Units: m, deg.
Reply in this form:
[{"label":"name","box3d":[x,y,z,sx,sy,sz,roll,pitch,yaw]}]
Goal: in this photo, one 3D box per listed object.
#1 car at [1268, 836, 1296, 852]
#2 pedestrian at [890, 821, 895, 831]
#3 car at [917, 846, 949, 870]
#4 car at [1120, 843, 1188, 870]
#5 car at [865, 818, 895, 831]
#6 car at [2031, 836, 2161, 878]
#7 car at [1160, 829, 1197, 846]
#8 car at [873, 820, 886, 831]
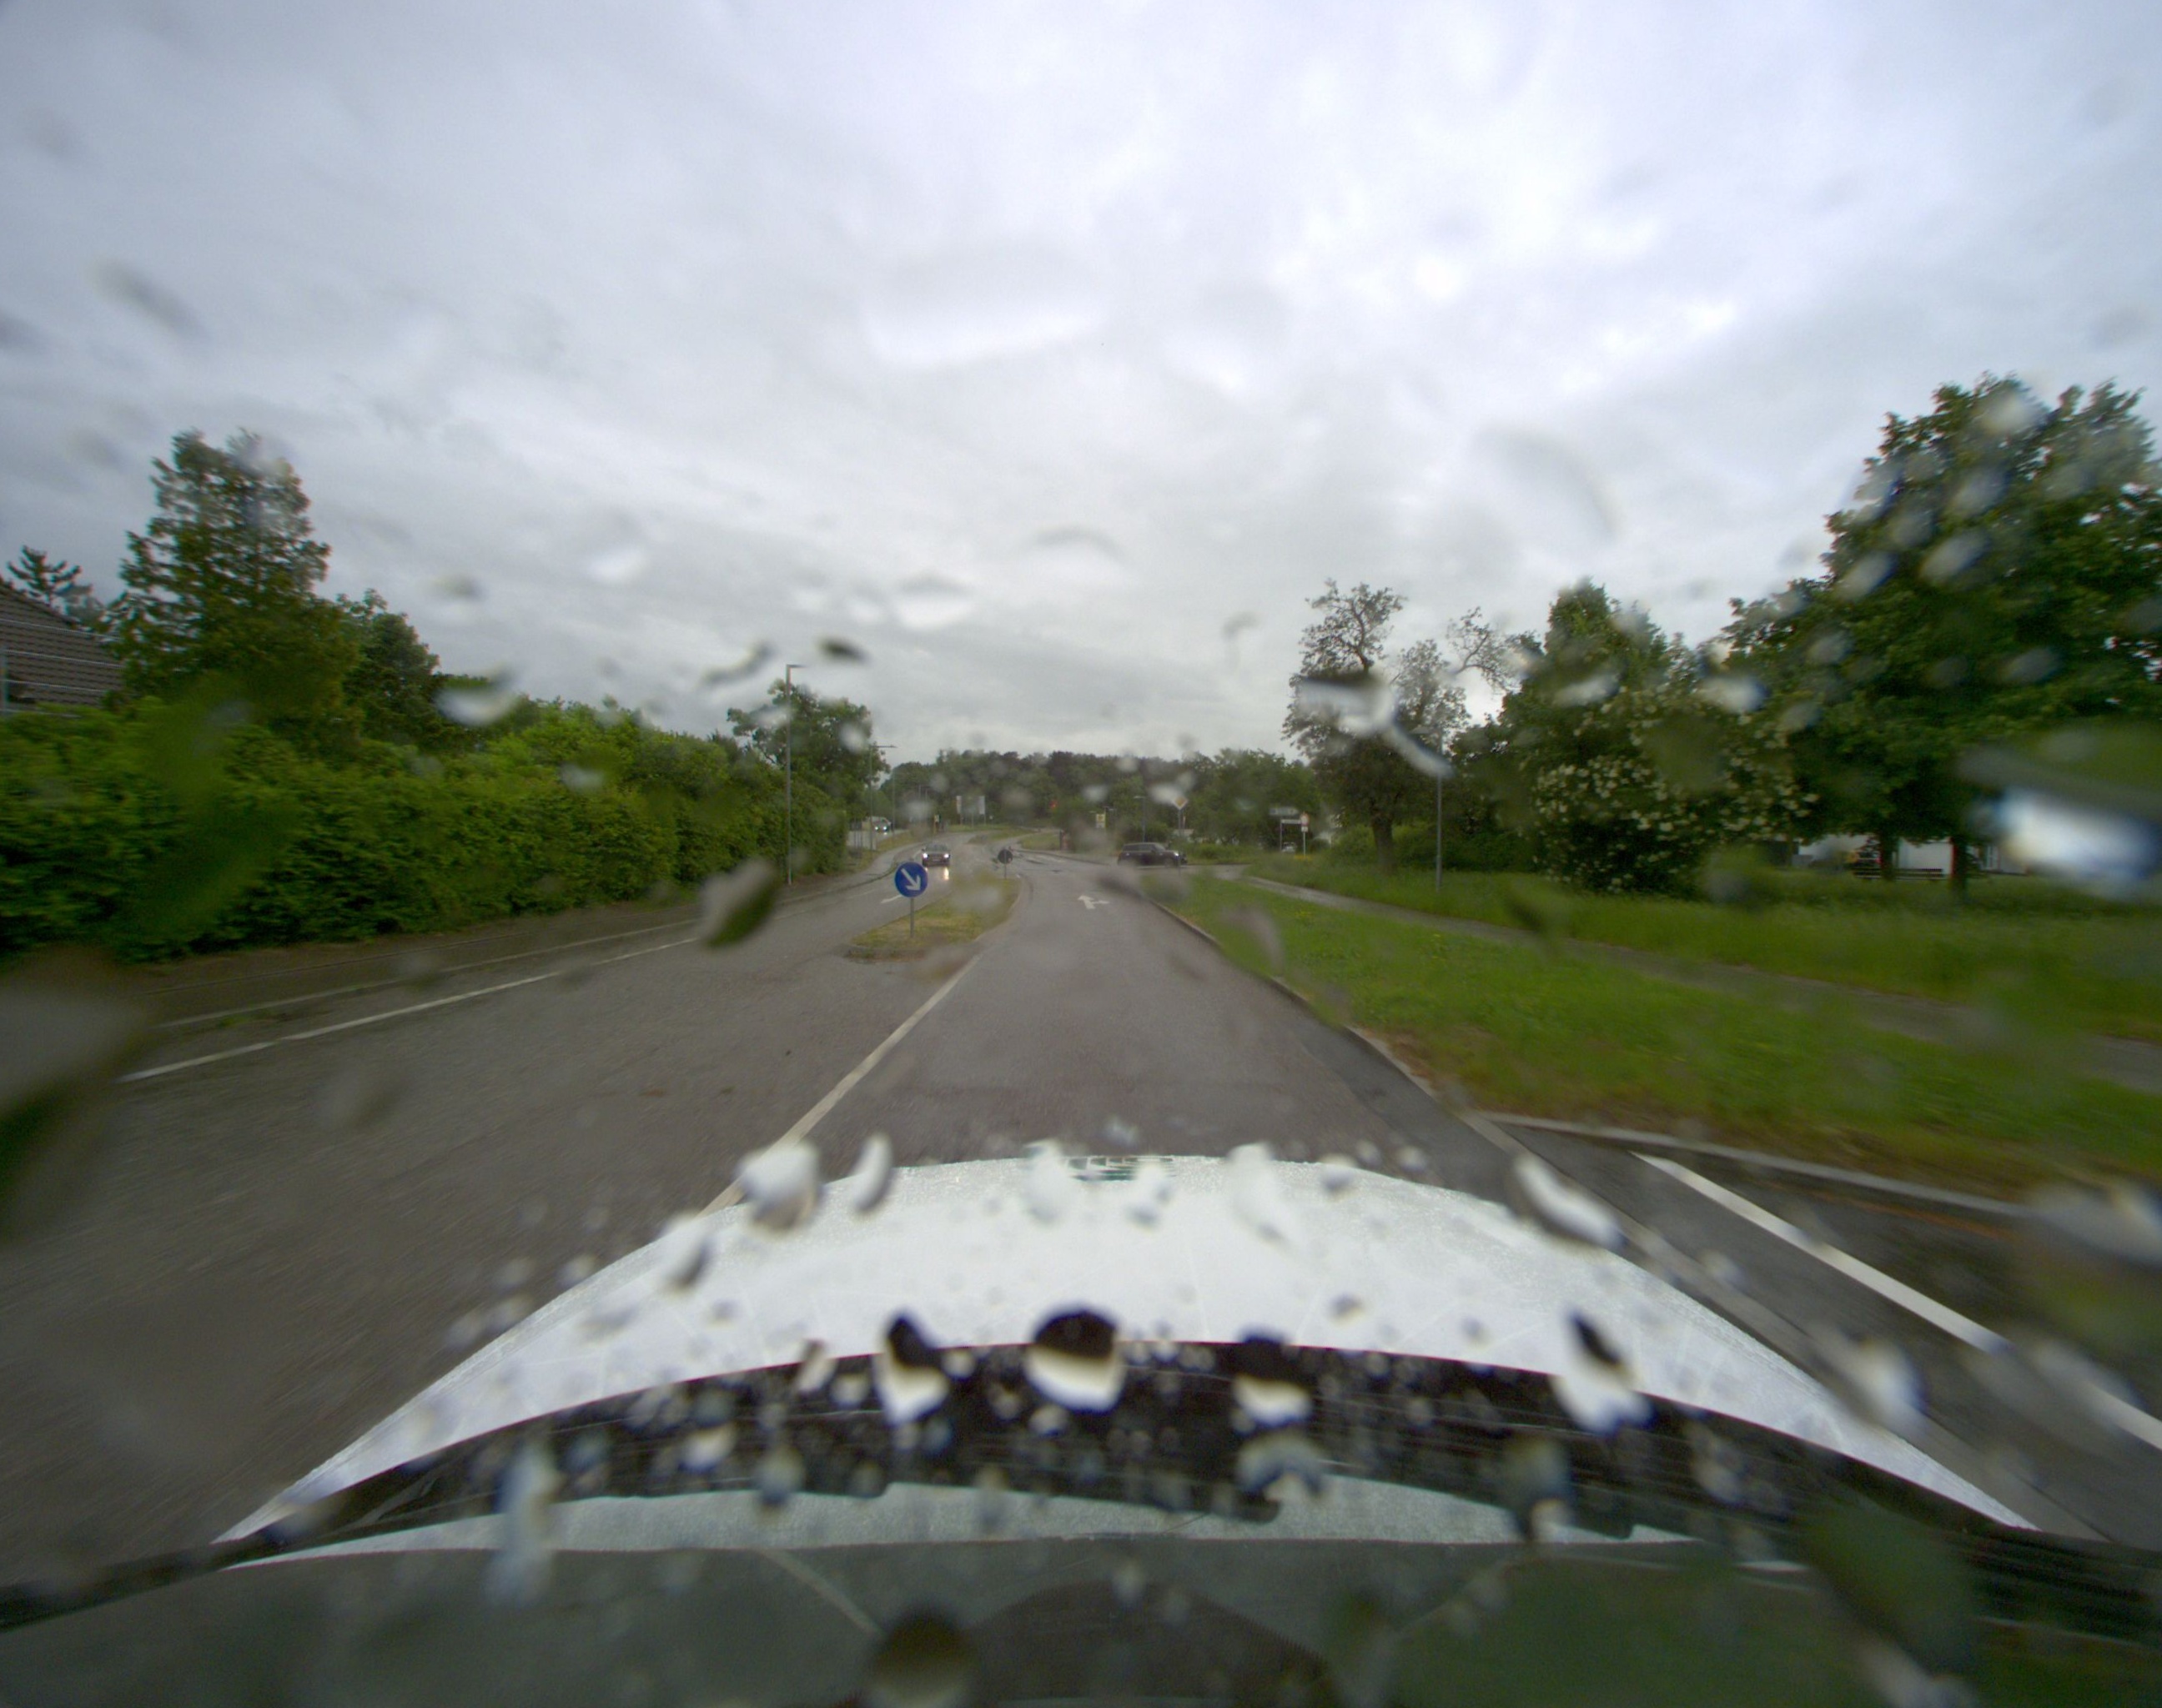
[{"label":"car","box3d":[20.742,-1.020,84.174,1.923,1.507,4.002,-1,2,1]},{"label":"pedestrian","box3d":[-30.953,-4.657,133.706,0.568,1.620,0.633,-1,1,-21]},{"label":"car","box3d":[-9.977,0.247,55.277,1.967,1.414,4.402,-3,1,-9]},{"label":"car","box3d":[4.052,0.120,44.998,3.498,1.355,1.465,2,1,13]},{"label":"car","box3d":[-39.988,-5.830,162.210,5.675,2.404,1.994,-1,1,-9]},{"label":"car","box3d":[49.034,0.092,38.960,1.987,1.739,4.466,-1,3,0]},{"label":"car","box3d":[10.504,-1.748,87.769,3.379,1.690,2.012,-2,-3,40]},{"label":"car","box3d":[-32.503,-4.568,131.402,1.694,1.620,3.868,-1,1,-20]}]
